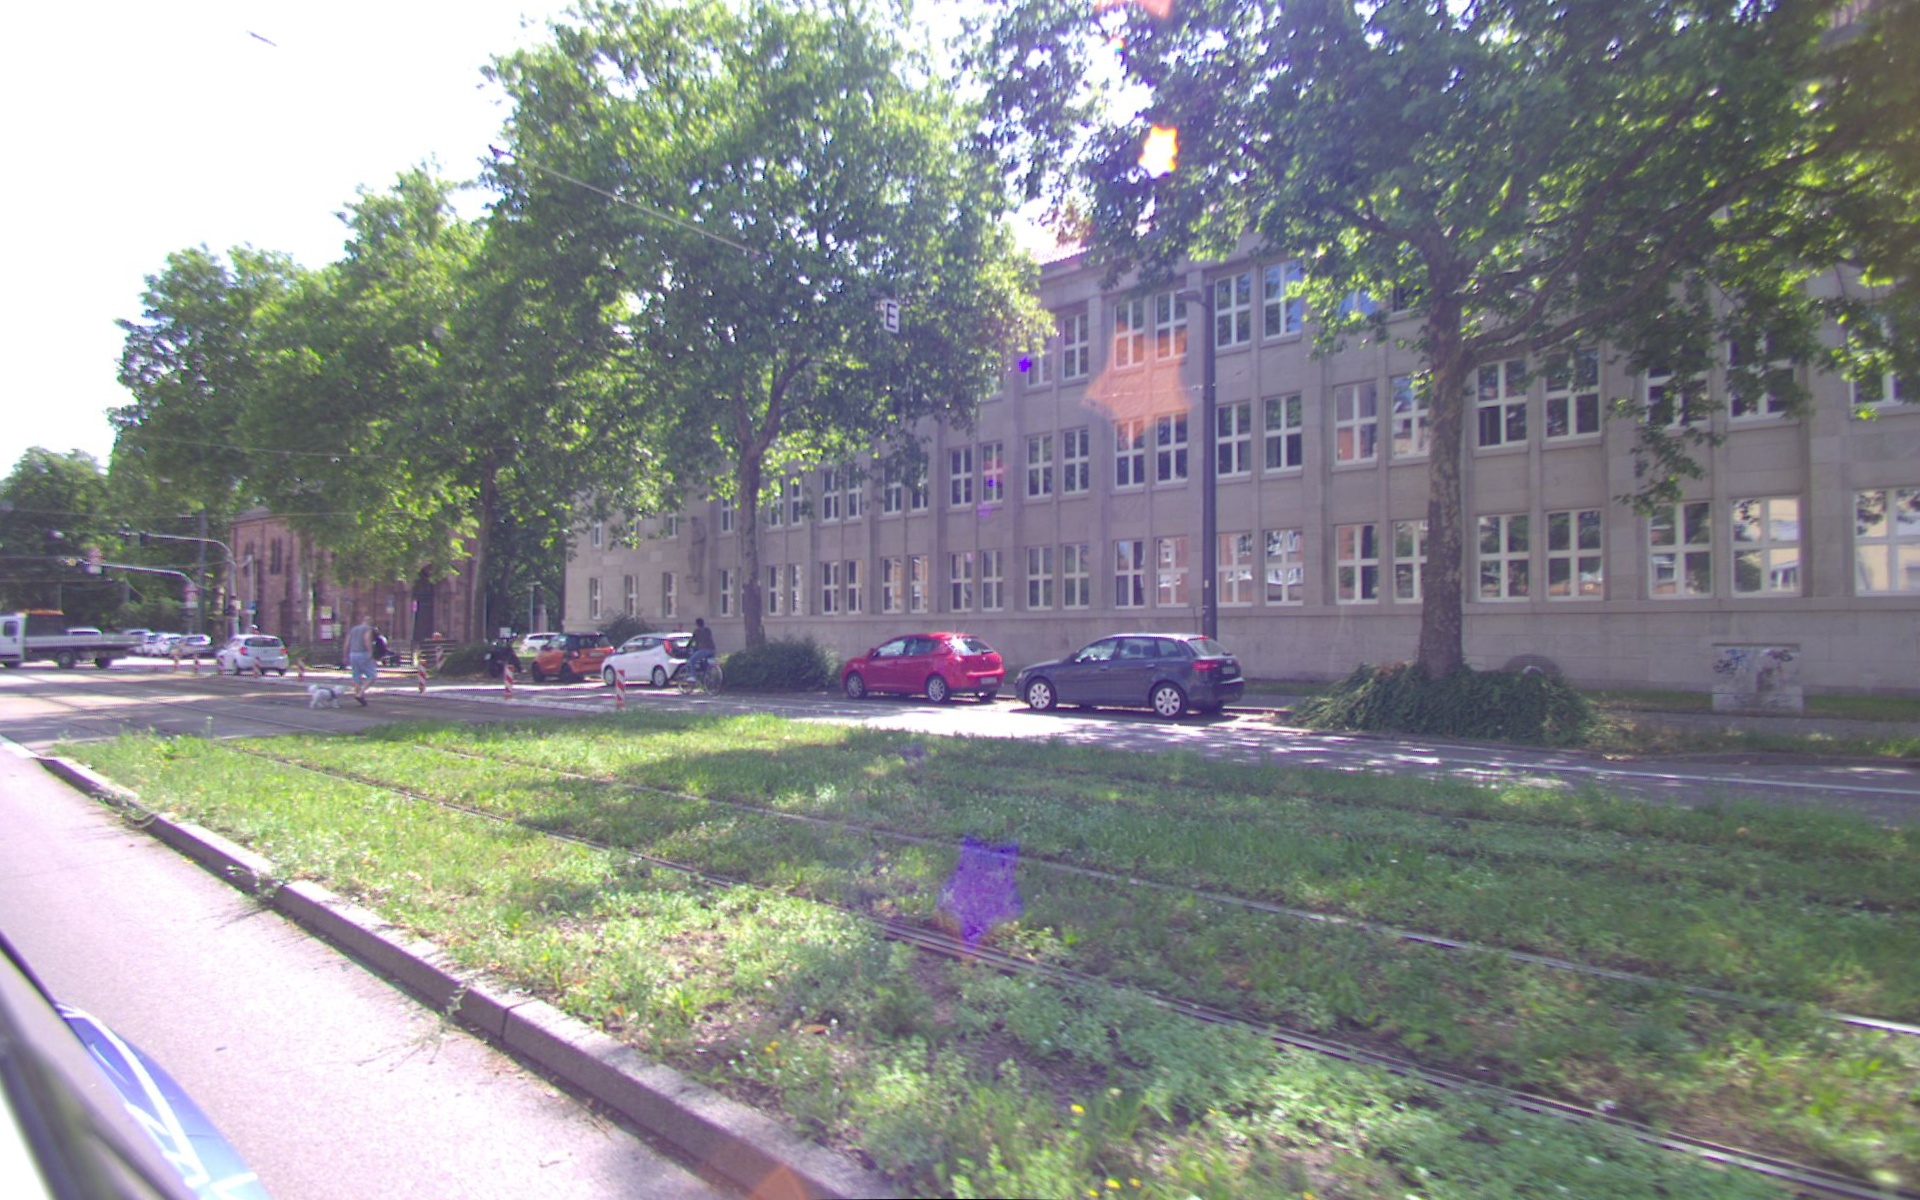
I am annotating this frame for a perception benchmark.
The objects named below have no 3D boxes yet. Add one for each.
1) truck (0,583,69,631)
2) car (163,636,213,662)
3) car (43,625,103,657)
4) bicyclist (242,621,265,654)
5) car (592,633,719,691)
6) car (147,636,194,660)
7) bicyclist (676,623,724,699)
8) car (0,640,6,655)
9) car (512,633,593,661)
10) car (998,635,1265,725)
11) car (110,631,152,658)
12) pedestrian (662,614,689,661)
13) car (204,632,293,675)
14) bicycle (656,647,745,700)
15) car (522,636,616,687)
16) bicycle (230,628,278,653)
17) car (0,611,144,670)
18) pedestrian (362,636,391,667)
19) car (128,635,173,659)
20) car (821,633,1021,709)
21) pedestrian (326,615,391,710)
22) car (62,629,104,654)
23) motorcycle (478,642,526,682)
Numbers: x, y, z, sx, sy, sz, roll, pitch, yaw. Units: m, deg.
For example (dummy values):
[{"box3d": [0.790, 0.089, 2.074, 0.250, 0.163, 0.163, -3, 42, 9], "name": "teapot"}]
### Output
[{"box3d": [-65.238, 0.568, 71.273, 7.219, 3.130, 2.611, -2, -5, 41], "name": "truck"}, {"box3d": [-47.994, 3.002, 62.889, 3.998, 1.508, 1.738, -2, -2, 42], "name": "car"}, {"box3d": [-52.225, 2.390, 59.547, 4.534, 1.759, 1.901, -1, -5, 40], "name": "car"}, {"box3d": [-39.192, 2.055, 56.133, 0.660, 1.798, 0.875, -2, -1, 33], "name": "bicyclist"}, {"box3d": [-8.509, 1.701, 28.151, 3.487, 1.465, 1.729, -3, -2, 39], "name": "car"}, {"box3d": [-51.443, 3.093, 65.917, 3.998, 1.508, 1.738, -2, -2, 42], "name": "car"}, {"box3d": [-6.033, 1.394, 23.485, 0.782, 1.717, 0.754, -1, -2, 37], "name": "bicyclist"}, {"box3d": [-98.695, 4.859, 102.760, 3.987, 1.508, 1.743, -1, -2, 32], "name": "car"}, {"box3d": [-24.977, 2.882, 62.042, 4.363, 1.620, 1.755, 0, -3, 11], "name": "car"}, {"box3d": [2.986, 1.362, 18.102, 4.313, 1.379, 1.907, -3, -2, 39], "name": "car"}, {"box3d": [-59.783, 3.177, 72.939, 3.998, 1.850, 1.738, -2, -2, 42], "name": "car"}, {"box3d": [-9.672, 1.271, 34.412, 0.795, 1.603, 0.548, -2, -2, 40], "name": "pedestrian"}, {"box3d": [-26.519, 2.015, 37.667, 3.784, 1.491, 1.742, -3, -6, 40], "name": "car"}, {"box3d": [-6.040, 1.678, 23.489, 2.274, 1.118, 0.783, -1, -2, 39], "name": "bicycle"}, {"box3d": [-12.062, 1.865, 31.159, 2.880, 1.465, 1.472, -3, -2, 39], "name": "car"}, {"box3d": [-39.170, 2.252, 56.146, 0.670, 1.300, 2.065, -2, 0, 33], "name": "bicycle"}, {"box3d": [-38.379, 1.694, 42.329, 6.889, 2.392, 2.260, 0, -2, 3], "name": "car"}, {"box3d": [-24.417, 2.132, 42.371, 0.913, 1.221, 0.747, -2, 2, 43], "name": "pedestrian"}, {"box3d": [-55.016, 3.182, 68.782, 3.998, 1.508, 1.738, -2, -2, 42], "name": "car"}, {"box3d": [-0.891, 1.459, 21.607, 4.048, 1.431, 1.906, -3, -2, 41], "name": "car"}, {"box3d": [-11.125, 1.139, 18.729, 0.696, 1.717, 0.779, -1, -1, 17], "name": "pedestrian"}, {"box3d": [-74.675, 3.506, 86.122, 4.080, 2.019, 1.969, -1, -2, 39], "name": "car"}, {"box3d": [-15.675, 2.107, 34.660, 0.537, 1.184, 2.106, -4, 0, 2], "name": "motorcycle"}]
